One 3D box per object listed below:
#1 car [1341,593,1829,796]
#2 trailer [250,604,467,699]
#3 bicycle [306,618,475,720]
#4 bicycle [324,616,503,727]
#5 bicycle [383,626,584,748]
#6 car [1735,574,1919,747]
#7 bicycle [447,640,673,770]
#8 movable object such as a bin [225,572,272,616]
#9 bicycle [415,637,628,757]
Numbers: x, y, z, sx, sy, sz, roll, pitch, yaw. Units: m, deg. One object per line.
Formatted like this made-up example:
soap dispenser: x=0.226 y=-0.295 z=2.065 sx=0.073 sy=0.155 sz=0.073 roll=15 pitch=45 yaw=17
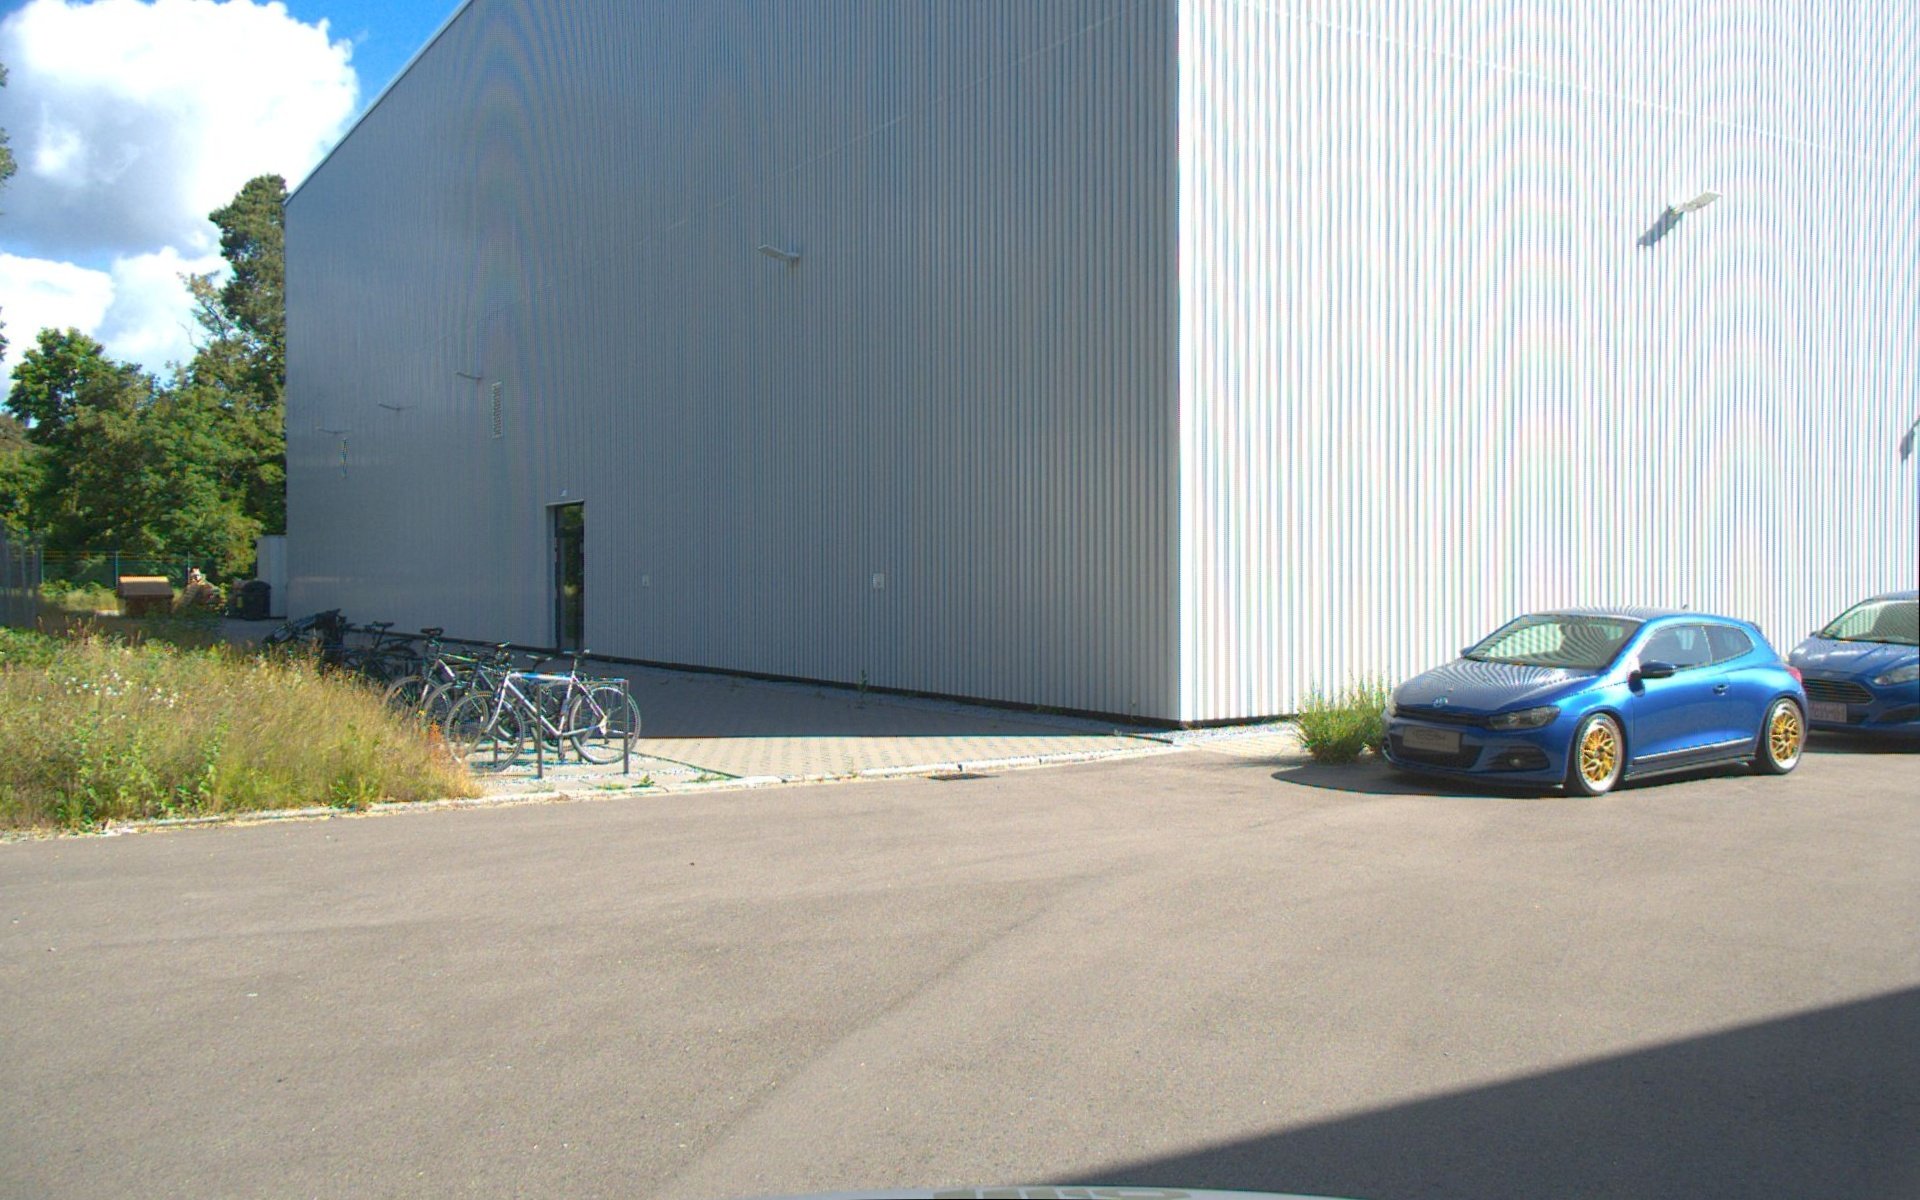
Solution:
car: x=5.202 y=0.662 z=13.600 sx=4.118 sy=1.408 sz=1.734 roll=0 pitch=1 yaw=-34
trailer: x=-8.535 y=0.693 z=23.512 sx=2.687 sy=1.220 sz=1.231 roll=-1 pitch=1 yaw=-34
bicycle: x=-6.832 y=0.810 z=19.886 sx=1.867 sy=1.123 sz=0.428 roll=-1 pitch=1 yaw=-34
bicycle: x=-6.133 y=0.783 z=18.622 sx=1.867 sy=1.145 sz=0.428 roll=-1 pitch=1 yaw=-34
bicycle: x=-4.714 y=0.838 z=16.438 sx=1.867 sy=1.101 sz=0.428 roll=-1 pitch=1 yaw=-34
car: x=9.734 y=0.515 z=16.701 sx=3.851 sy=1.498 sz=1.735 roll=-1 pitch=3 yaw=-34
bicycle: x=-3.434 y=0.880 z=14.300 sx=1.867 sy=0.995 sz=0.428 roll=-1 pitch=1 yaw=-34
movable object such as a bin: x=-27.821 y=-0.237 z=64.676 sx=1.349 sy=1.685 sz=2.813 roll=-1 pitch=1 yaw=-30
bicycle: x=-4.039 y=0.871 z=15.317 sx=1.867 sy=0.995 sz=0.428 roll=-1 pitch=1 yaw=-34
